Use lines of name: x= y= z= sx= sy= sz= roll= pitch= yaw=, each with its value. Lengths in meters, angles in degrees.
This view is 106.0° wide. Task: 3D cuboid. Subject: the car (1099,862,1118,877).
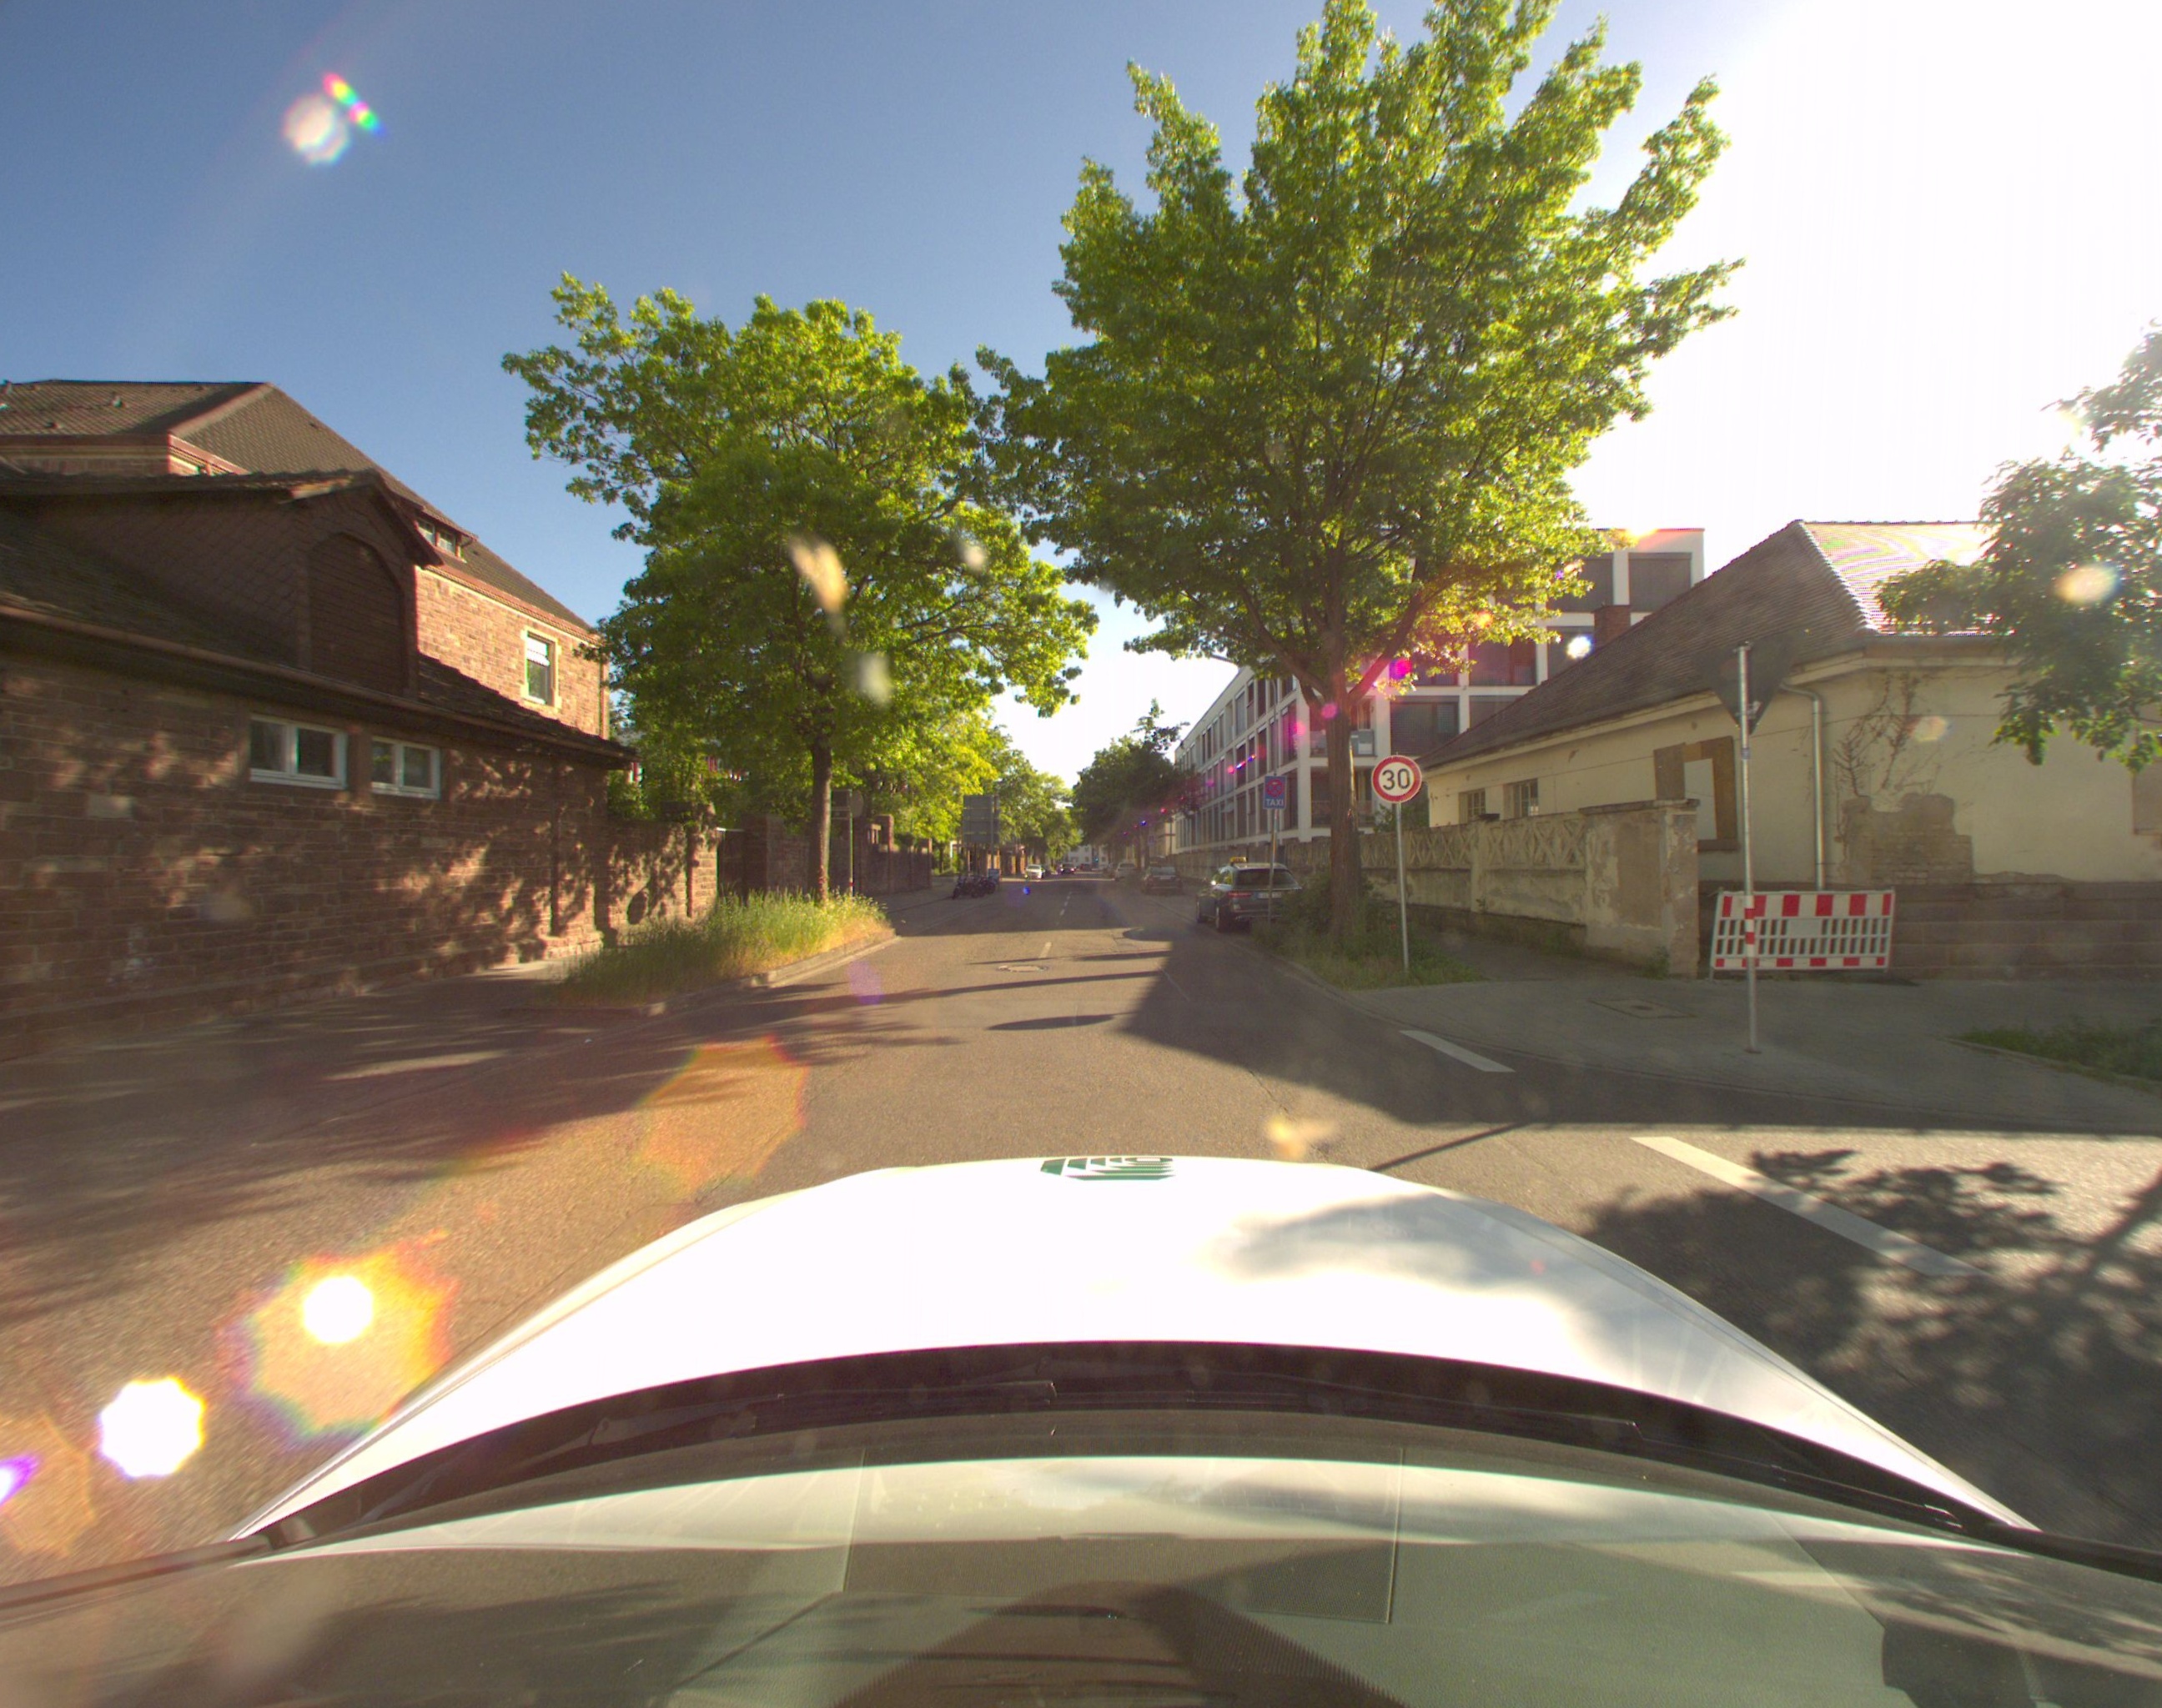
car: x=2.837 y=1.615 z=84.790 sx=1.986 sy=1.465 sz=3.837 roll=0 pitch=0 yaw=1

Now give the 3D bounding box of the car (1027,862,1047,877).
car: x=-4.690 y=1.625 z=87.079 sx=1.901 sy=1.530 sz=3.999 roll=0 pitch=0 yaw=0

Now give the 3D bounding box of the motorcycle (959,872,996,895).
motorcycle: x=-5.138 y=1.450 z=40.708 sx=0.570 sy=1.074 sz=2.135 roll=-1 pitch=-1 yaw=33

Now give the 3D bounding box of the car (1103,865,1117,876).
car: x=4.142 y=2.327 z=115.875 sx=1.986 sy=1.425 sz=3.837 roll=0 pitch=0 yaw=1

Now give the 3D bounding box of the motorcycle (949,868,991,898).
motorcycle: x=-4.981 y=1.298 z=36.676 sx=0.570 sy=1.276 sz=2.135 roll=-1 pitch=-1 yaw=33

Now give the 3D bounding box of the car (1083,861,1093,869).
car: x=1.413 y=2.047 z=154.363 sx=1.882 sy=1.400 sz=3.837 roll=0 pitch=0 yaw=1

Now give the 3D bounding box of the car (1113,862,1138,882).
car: x=3.732 y=1.516 z=69.046 sx=1.943 sy=1.578 sz=3.837 roll=0 pitch=0 yaw=1

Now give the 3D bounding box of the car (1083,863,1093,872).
car: x=1.328 y=2.591 z=154.460 sx=1.763 sy=1.548 sz=4.061 roll=-1 pitch=-1 yaw=-3

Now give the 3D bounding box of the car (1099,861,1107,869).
car: x=4.037 y=1.952 z=150.096 sx=1.580 sy=1.400 sz=3.837 roll=0 pitch=0 yaw=1

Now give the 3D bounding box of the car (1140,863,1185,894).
car: x=3.982 y=1.159 z=40.249 sx=1.762 sy=1.440 sz=3.998 roll=-1 pitch=-1 yaw=-1

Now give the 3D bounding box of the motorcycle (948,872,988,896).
motorcycle: x=-5.239 y=1.380 z=37.832 sx=0.570 sy=1.074 sz=2.135 roll=-1 pitch=-1 yaw=33

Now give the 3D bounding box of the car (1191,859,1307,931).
car: x=3.747 y=0.857 z=18.975 sx=1.698 sy=1.468 sz=4.788 roll=0 pitch=0 yaw=0

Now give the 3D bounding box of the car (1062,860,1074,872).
car: x=-1.723 y=1.593 z=109.214 sx=1.648 sy=1.530 sz=3.999 roll=0 pitch=0 yaw=0

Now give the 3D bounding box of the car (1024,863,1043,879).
car: x=-4.720 y=1.681 z=81.081 sx=1.762 sy=1.487 sz=3.998 roll=-1 pitch=-1 yaw=-1
